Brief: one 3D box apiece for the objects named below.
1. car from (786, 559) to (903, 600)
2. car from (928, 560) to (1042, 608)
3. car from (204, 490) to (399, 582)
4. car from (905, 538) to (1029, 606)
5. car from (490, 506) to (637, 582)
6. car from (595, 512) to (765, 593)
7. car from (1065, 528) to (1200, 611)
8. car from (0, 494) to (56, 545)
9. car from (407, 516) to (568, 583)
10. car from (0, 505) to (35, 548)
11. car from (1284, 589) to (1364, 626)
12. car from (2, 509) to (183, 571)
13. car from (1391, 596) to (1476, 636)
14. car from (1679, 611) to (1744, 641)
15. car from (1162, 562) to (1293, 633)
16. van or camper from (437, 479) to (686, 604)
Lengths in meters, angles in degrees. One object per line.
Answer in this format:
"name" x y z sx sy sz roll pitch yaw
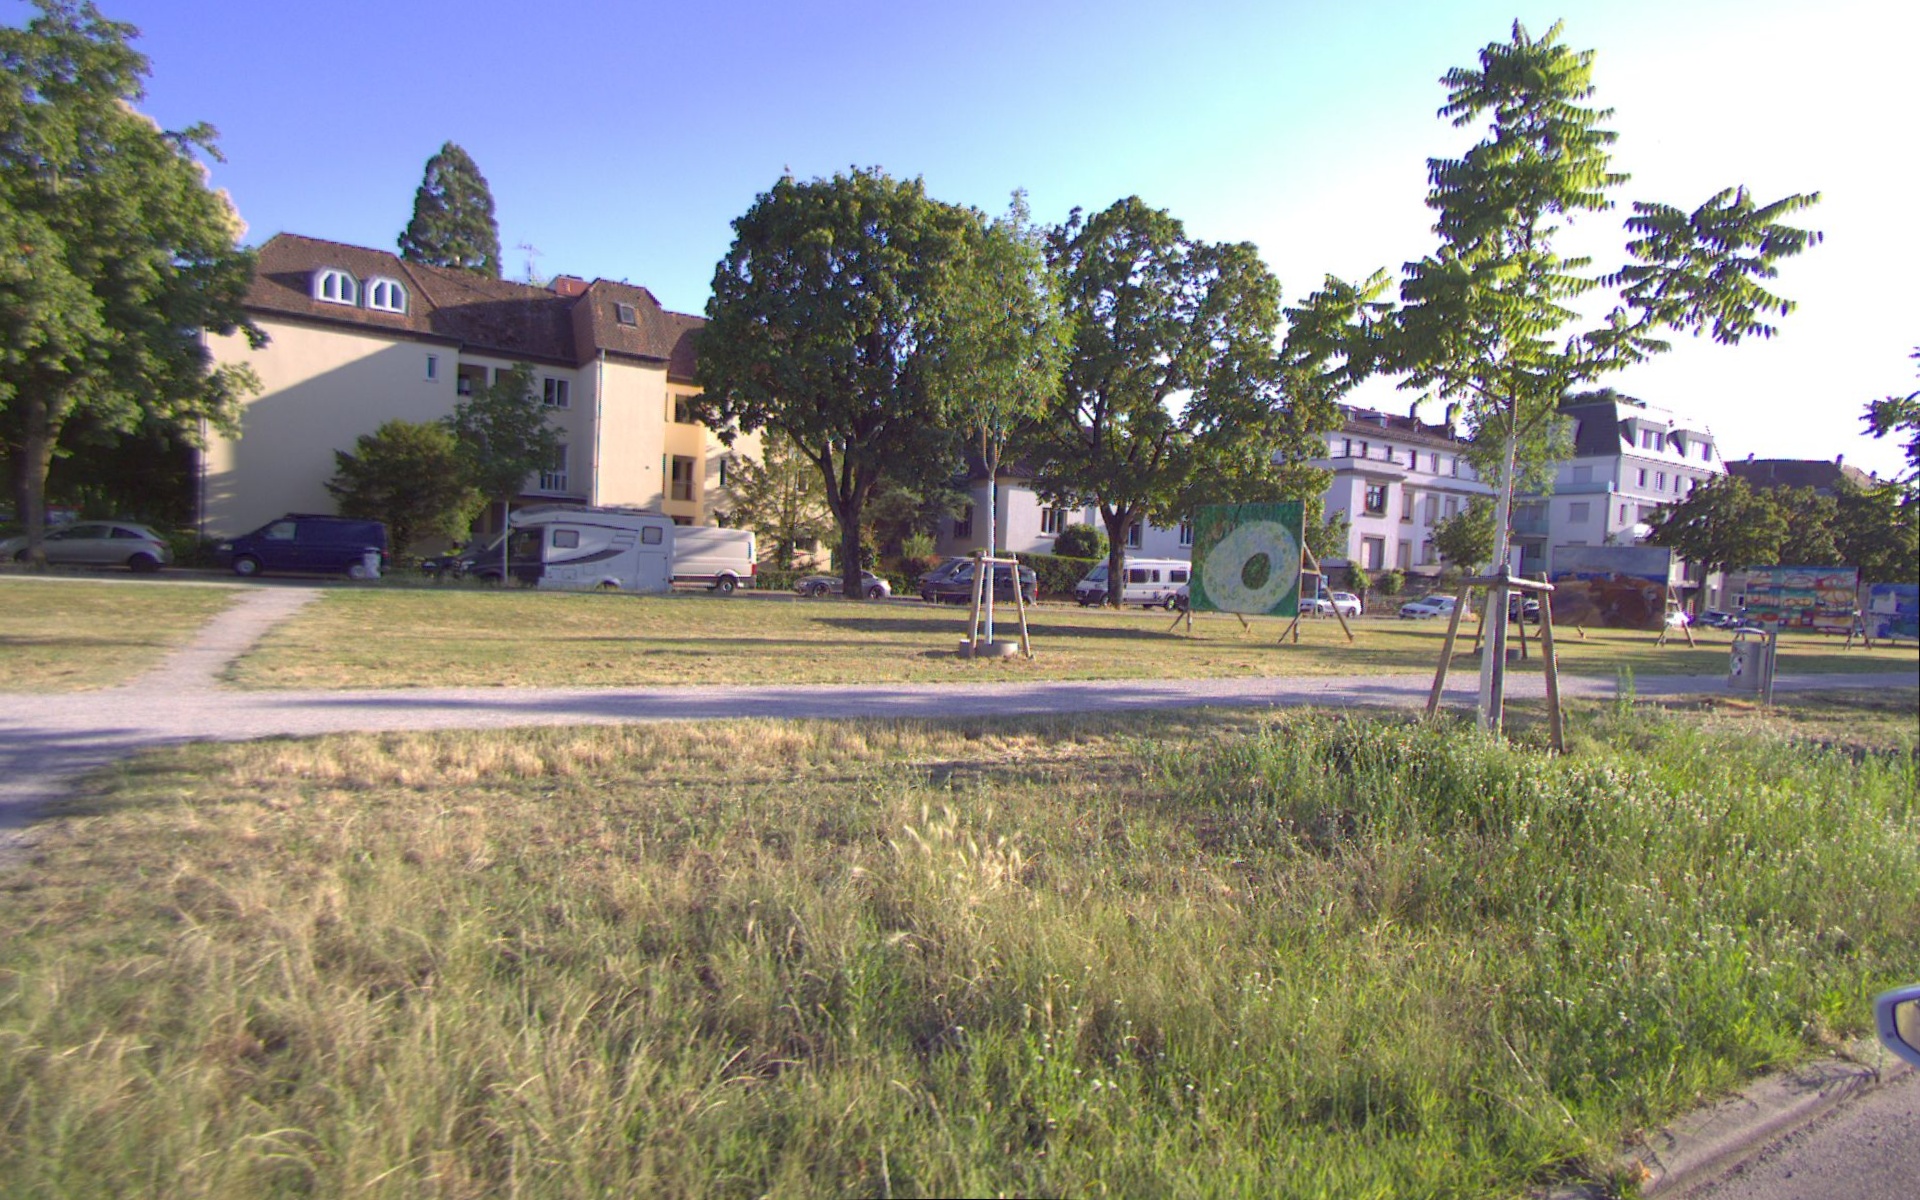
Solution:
"car" -4.890 -0.833 42.523 4.502 1.421 1.987 3 -2 -27
"car" 0.988 -0.601 38.513 4.261 1.585 1.406 2 2 -31
"car" -21.245 -2.005 32.703 5.056 2.450 1.928 3 -2 -30
"car" 0.338 -1.190 45.374 5.268 2.638 2.124 3 -2 -32
"car" -12.234 -1.686 30.998 3.952 2.041 1.984 2 2 -30
"car" -10.890 -1.759 39.259 6.020 2.631 1.984 3 -2 -31
"car" 8.663 -1.428 50.118 6.686 3.605 2.293 3 -2 -30
"car" -42.836 -3.646 45.653 1.850 2.152 3.965 2 2 -31
"car" -16.677 -1.752 35.500 4.989 2.031 1.960 2 2 -30
"car" -40.171 -3.080 41.419 2.156 1.703 4.111 2 2 -31
"car" 20.895 0.452 57.629 4.660 1.878 1.722 3 -2 -31
"car" -25.807 -1.756 30.076 3.767 1.563 1.982 2 2 -32
"car" 25.301 0.873 53.636 4.587 1.924 1.825 3 -2 -29
"car" 51.553 1.768 68.885 4.637 1.852 1.919 3 -2 -30
"car" 12.150 -0.023 45.545 5.802 2.862 2.250 3 -2 -30
"van or camper" -12.234 -1.686 30.998 6.822 3.306 2.629 2 2 -30
